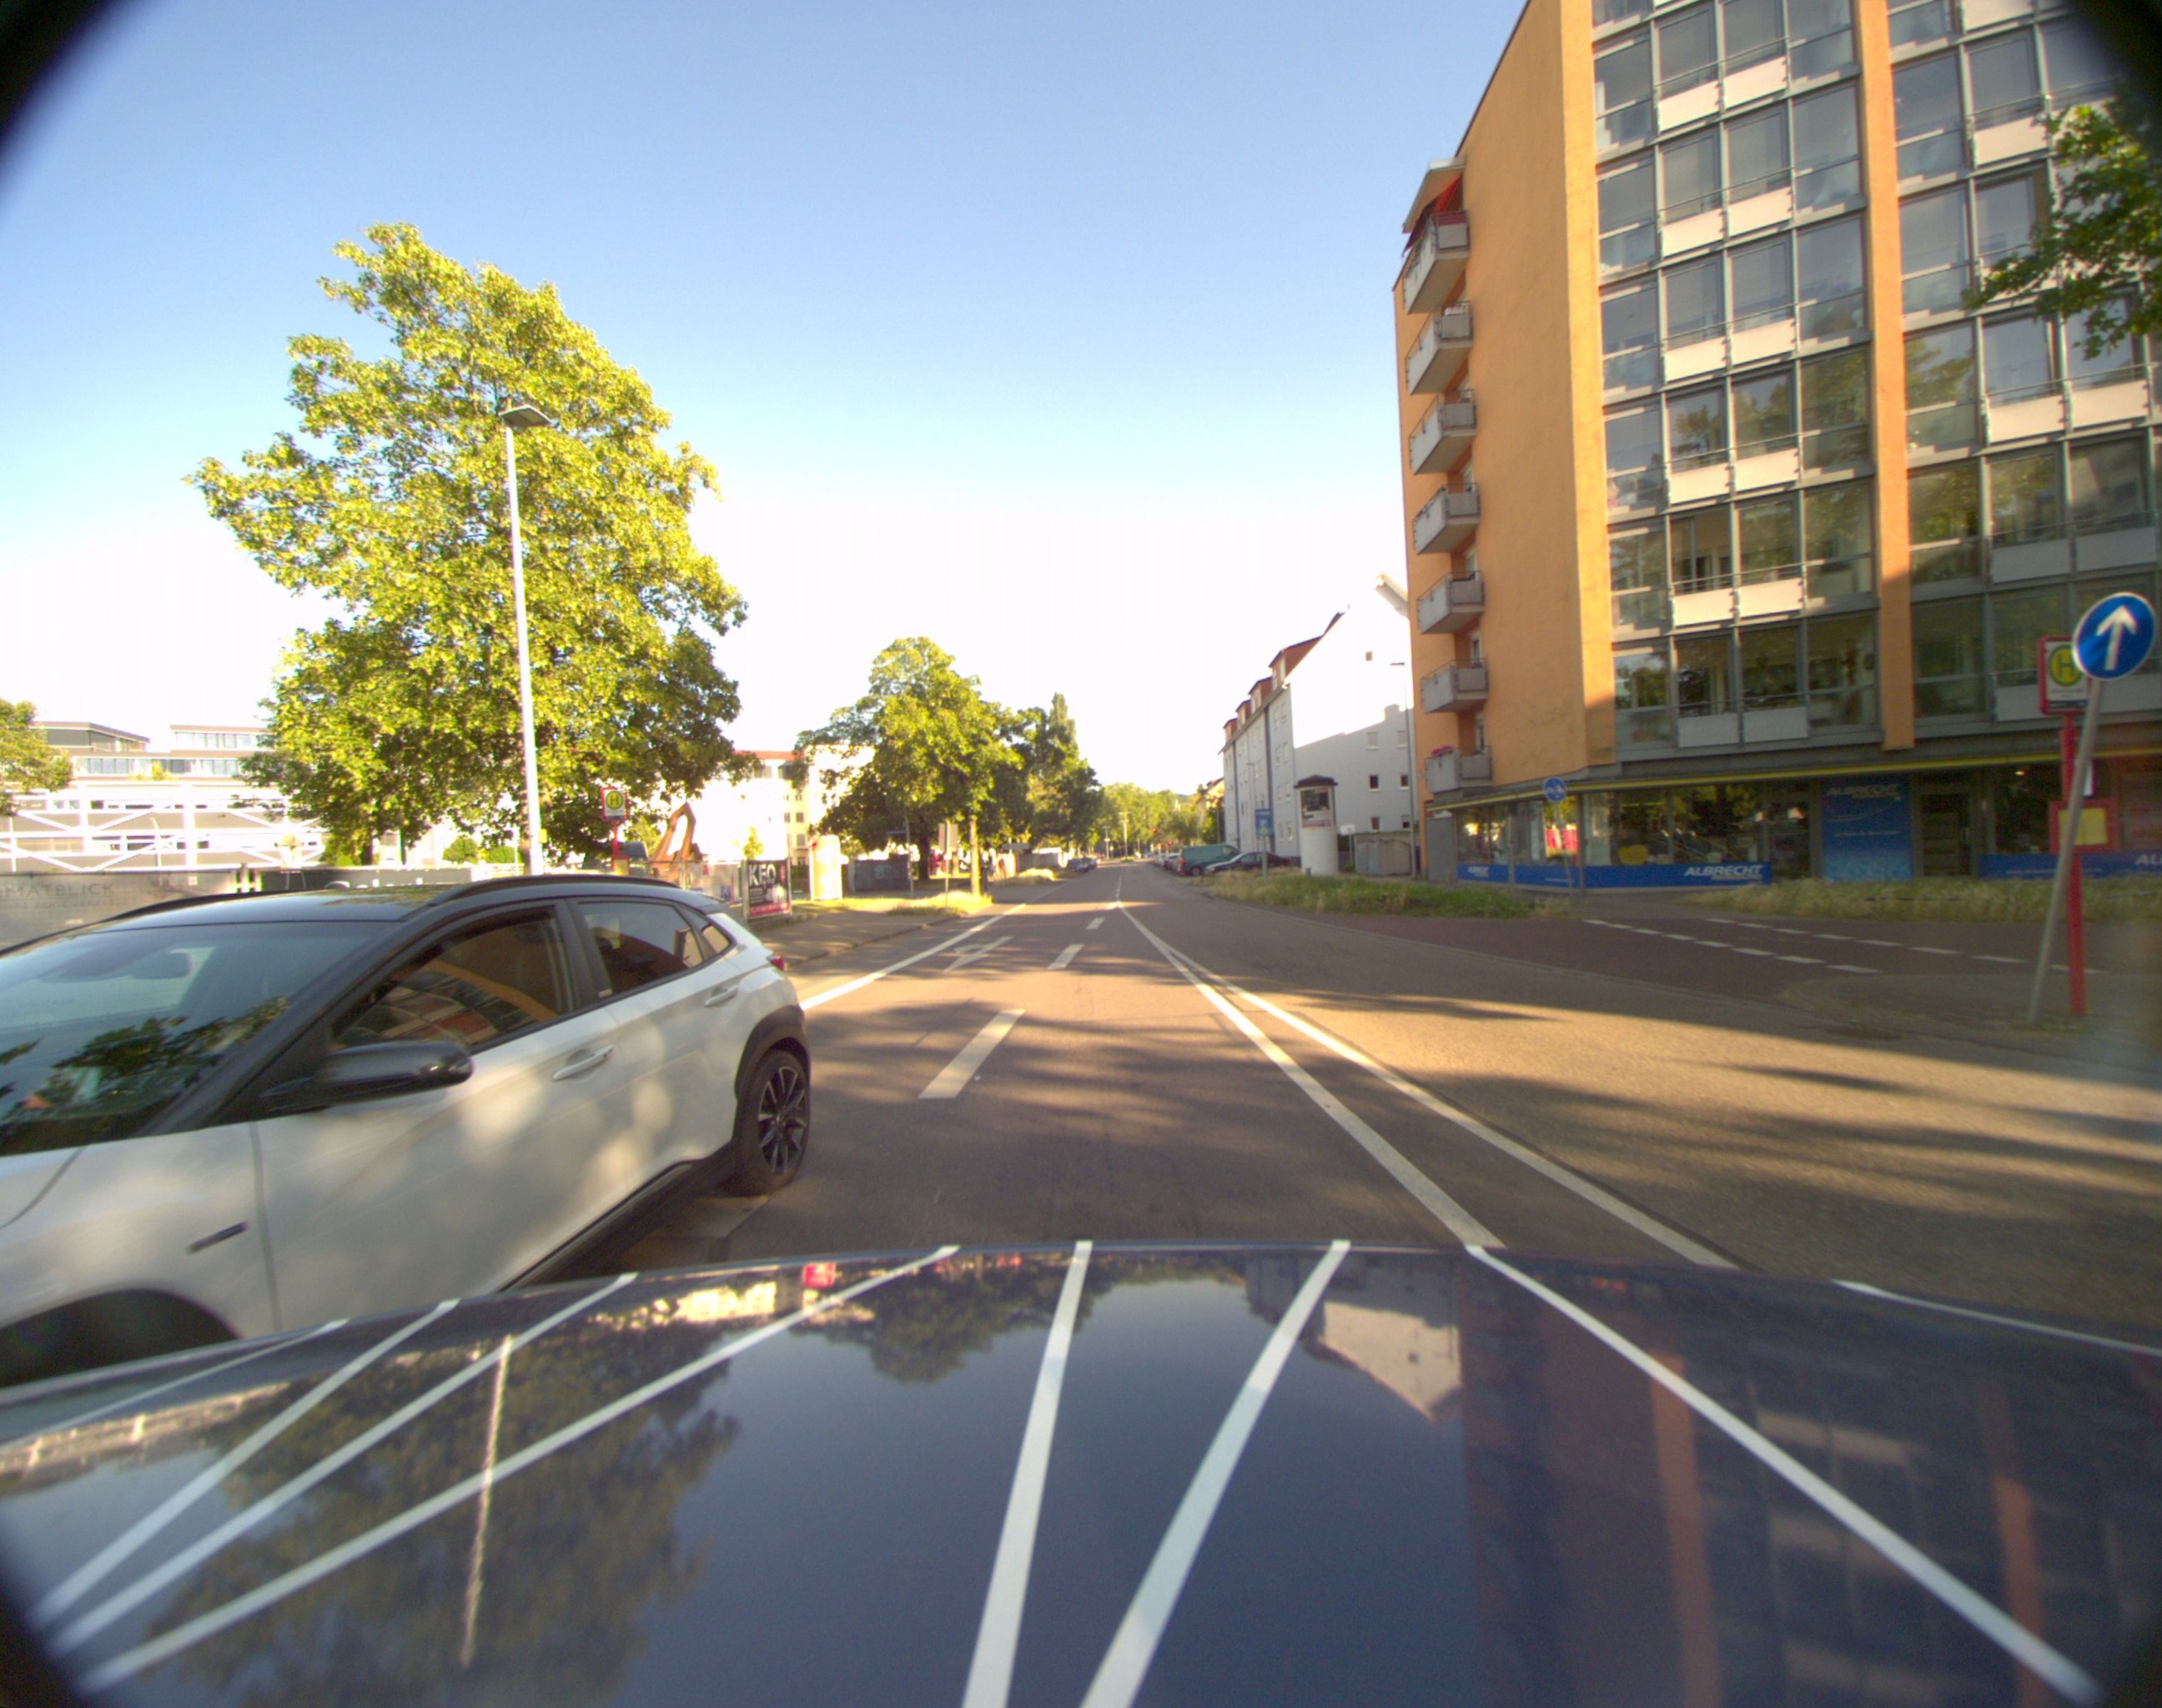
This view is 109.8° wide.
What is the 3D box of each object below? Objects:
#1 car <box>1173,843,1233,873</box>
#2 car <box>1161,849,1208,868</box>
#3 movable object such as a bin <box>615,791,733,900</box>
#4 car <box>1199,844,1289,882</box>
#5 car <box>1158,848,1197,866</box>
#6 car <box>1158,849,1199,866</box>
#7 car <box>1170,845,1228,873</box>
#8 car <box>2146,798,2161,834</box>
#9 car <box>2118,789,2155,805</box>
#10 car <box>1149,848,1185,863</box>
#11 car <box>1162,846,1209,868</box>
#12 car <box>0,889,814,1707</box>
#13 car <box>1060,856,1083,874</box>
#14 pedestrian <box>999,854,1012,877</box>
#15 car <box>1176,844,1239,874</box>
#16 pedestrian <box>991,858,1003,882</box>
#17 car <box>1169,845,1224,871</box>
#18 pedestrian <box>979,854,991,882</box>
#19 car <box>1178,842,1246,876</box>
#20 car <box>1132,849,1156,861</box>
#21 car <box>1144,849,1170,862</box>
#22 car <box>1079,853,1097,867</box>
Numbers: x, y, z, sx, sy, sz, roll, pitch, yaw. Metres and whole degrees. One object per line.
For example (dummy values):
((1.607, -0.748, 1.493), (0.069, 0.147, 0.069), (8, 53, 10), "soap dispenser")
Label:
((8.643, 0.267, 53.942), (3.995, 1.805, 2.000), (-3, 1, 6), "car")
((9.763, 0.392, 71.971), (4.257, 1.564, 1.867), (-3, 1, 6), "car")
((-22.139, -0.430, 41.237), (3.985, 5.447, 6.016), (-4, 1, -42), "movable object such as a bin")
((8.403, 0.448, 39.475), (4.424, 1.652, 2.001), (-3, 1, 9), "car")
((10.482, 0.306, 82.661), (4.071, 1.742, 1.899), (-3, 1, 6), "car")
((10.531, 0.337, 82.525), (4.257, 1.564, 1.867), (-3, 1, 6), "car")
((8.721, 0.341, 56.293), (4.059, 1.805, 1.937), (-3, 1, 6), "car")
((49.631, -1.747, 33.818), (4.054, 1.567, 2.045), (-4, 1, -43), "car")
((121.601, -6.567, 87.566), (4.376, 1.696, 1.934), (-4, 1, -43), "car")
((10.472, 0.204, 92.784), (4.257, 1.564, 1.867), (-3, 1, 6), "car")
((9.458, 0.239, 69.085), (4.117, 1.762, 1.757), (-3, 1, 6), "car")
((-2.501, 0.983, 2.096), (1.894, 1.587, 3.967), (-3, -2, 3), "car")
((-0.884, 1.031, 72.225), (1.998, 1.521, 3.999), (-3, 1, 1), "car")
((-5.425, 0.829, 54.683), (0.695, 1.659, 0.639), (-3, 1, 4), "pedestrian")
((8.492, 0.312, 51.187), (3.995, 1.805, 2.000), (-3, 1, 6), "car")
((-5.256, 1.000, 47.738), (0.609, 1.426, 0.639), (-3, 1, 1), "pedestrian")
((8.905, 0.326, 59.036), (4.071, 1.742, 1.899), (-3, 1, 6), "car")
((-6.023, 0.892, 47.848), (0.609, 1.727, 0.638), (-3, 1, -5), "pedestrian")
((8.322, 0.291, 48.539), (3.996, 1.936, 2.000), (-3, 1, 5), "car")
((9.985, 0.159, 120.372), (3.538, 1.564, 1.867), (-3, 1, 6), "car")
((10.758, 0.223, 107.835), (3.538, 1.564, 1.867), (-3, 1, 6), "car")
((0.819, 0.691, 90.600), (1.998, 1.521, 3.999), (-3, 1, 1), "car")
